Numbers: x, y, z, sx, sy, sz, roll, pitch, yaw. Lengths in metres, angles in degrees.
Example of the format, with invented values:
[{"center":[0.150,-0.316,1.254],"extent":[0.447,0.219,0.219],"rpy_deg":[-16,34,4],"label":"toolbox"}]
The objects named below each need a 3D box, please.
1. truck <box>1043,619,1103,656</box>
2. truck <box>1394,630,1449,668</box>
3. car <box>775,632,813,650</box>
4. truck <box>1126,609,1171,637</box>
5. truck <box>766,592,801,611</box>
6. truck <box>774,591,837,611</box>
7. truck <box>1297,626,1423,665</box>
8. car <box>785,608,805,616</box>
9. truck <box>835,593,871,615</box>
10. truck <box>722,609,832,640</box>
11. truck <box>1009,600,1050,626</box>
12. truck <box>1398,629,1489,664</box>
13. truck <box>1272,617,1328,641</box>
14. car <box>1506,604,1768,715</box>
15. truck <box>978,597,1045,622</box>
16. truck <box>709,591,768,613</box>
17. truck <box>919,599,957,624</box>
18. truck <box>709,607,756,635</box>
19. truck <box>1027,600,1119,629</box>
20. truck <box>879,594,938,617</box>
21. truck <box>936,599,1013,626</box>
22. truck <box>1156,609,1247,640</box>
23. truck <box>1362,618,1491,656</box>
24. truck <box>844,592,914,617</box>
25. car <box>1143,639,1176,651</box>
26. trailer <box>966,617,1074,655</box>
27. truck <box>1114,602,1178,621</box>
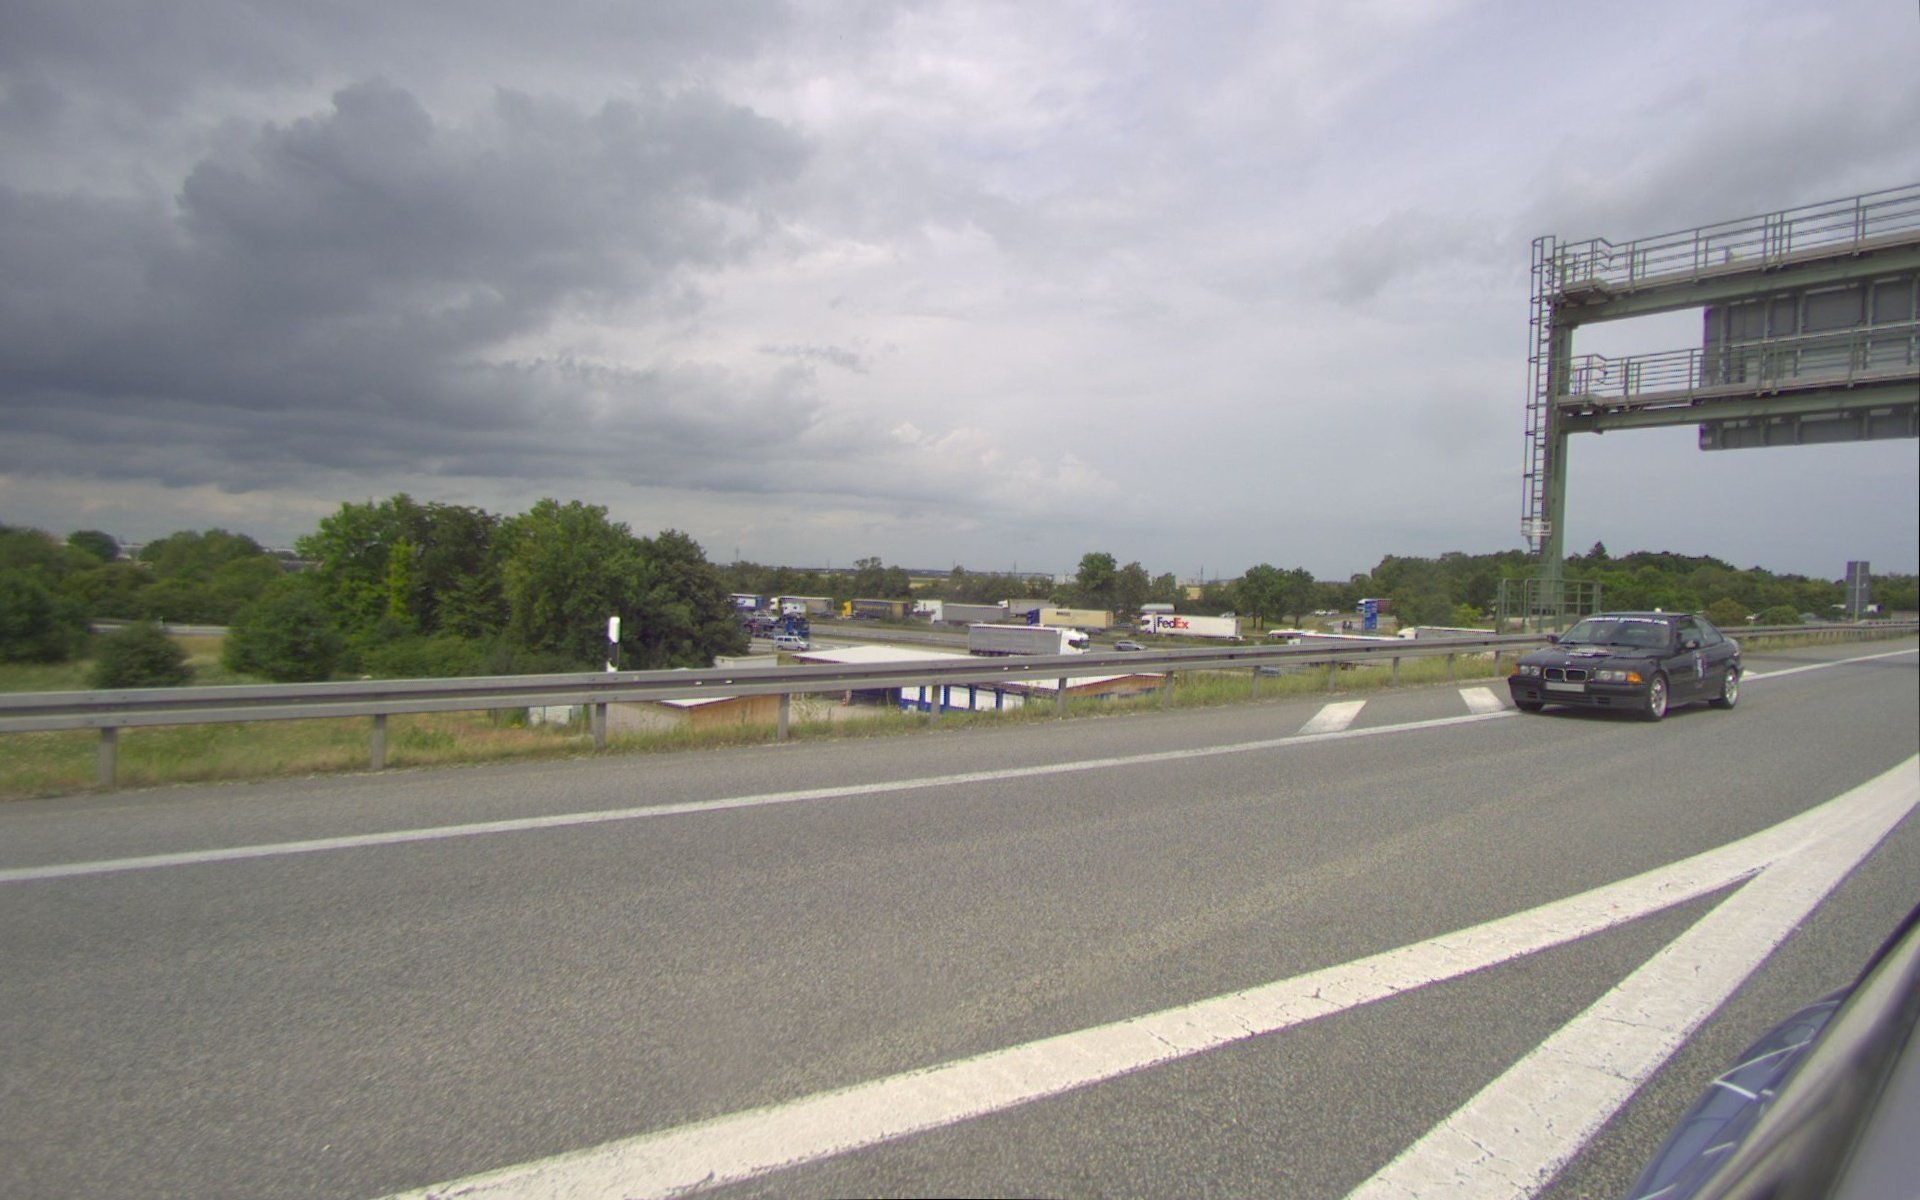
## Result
[{"center":[13.495,4.439,121.258],"extent":[6.490,4.151,2.950],"rpy_deg":[1,0,36],"label":"truck"},{"center":[50.690,5.322,111.158],"extent":[5.132,3.725,2.466],"rpy_deg":[2,0,34],"label":"truck"},{"center":[-22.022,5.434,134.367],"extent":[4.630,2.039,1.998],"rpy_deg":[3,-2,3],"label":"car"},{"center":[31.271,3.743,167.808],"extent":[6.257,4.568,3.880],"rpy_deg":[0,0,37],"label":"truck"},{"center":[-38.084,0.240,218.235],"extent":[6.460,4.063,4.078],"rpy_deg":[0,-1,37],"label":"truck"},{"center":[-32.837,0.234,214.306],"extent":[14.805,4.083,4.088],"rpy_deg":[1,0,37],"label":"truck"},{"center":[45.278,5.072,114.922],"extent":[13.053,3.725,2.466],"rpy_deg":[2,0,35],"label":"truck"},{"center":[-33.345,2.456,204.089],"extent":[3.977,1.505,1.715],"rpy_deg":[1,0,37],"label":"car"},{"center":[-21.884,0.801,206.978],"extent":[6.464,4.555,4.016],"rpy_deg":[0,0,38],"label":"truck"},{"center":[-27.681,3.556,151.730],"extent":[18.915,4.111,3.945],"rpy_deg":[1,0,34],"label":"truck"},{"center":[12.474,2.345,182.113],"extent":[6.256,4.568,3.881],"rpy_deg":[0,0,37],"label":"truck"},{"center":[64.599,6.160,135.466],"extent":[10.707,4.123,3.202],"rpy_deg":[1,-1,34],"label":"truck"},{"center":[49.828,4.234,148.377],"extent":[7.523,3.237,2.202],"rpy_deg":[1,-1,37],"label":"truck"},{"center":[9.395,0.735,13.923],"extent":[4.284,1.297,1.709],"rpy_deg":[1,0,-37],"label":"car"},{"center":[11.497,2.128,226.076],"extent":[14.576,5.281,3.861],"rpy_deg":[1,-1,0],"label":"truck"},{"center":[-49.546,0.437,226.165],"extent":[14.391,4.882,4.035],"rpy_deg":[1,-1,35],"label":"truck"},{"center":[-4.257,2.197,194.199],"extent":[6.258,4.568,3.880],"rpy_deg":[0,0,37],"label":"truck"},{"center":[-35.316,3.243,156.899],"extent":[6.374,4.041,3.816],"rpy_deg":[1,1,34],"label":"truck"},{"center":[19.622,2.441,176.773],"extent":[16.270,4.612,3.955],"rpy_deg":[1,0,37],"label":"truck"},{"center":[-11.732,1.273,229.580],"extent":[12.783,5.105,3.942],"rpy_deg":[1,-1,8],"label":"truck"},{"center":[2.591,2.266,188.862],"extent":[14.802,4.612,3.954],"rpy_deg":[1,0,38],"label":"truck"},{"center":[38.606,3.885,162.350],"extent":[13.708,4.612,3.956],"rpy_deg":[1,-1,36],"label":"truck"},{"center":[65.596,5.105,142.801],"extent":[16.092,4.759,3.938],"rpy_deg":[1,0,39],"label":"truck"},{"center":[-16.325,0.852,202.505],"extent":[15.225,4.612,3.952],"rpy_deg":[1,0,39],"label":"truck"},{"center":[26.535,5.992,134.636],"extent":[3.974,1.622,1.853],"rpy_deg":[-3,-3,36],"label":"car"},{"center":[7.325,4.330,125.861],"extent":[14.164,4.151,2.950],"rpy_deg":[1,0,37],"label":"trailer"},{"center":[42.314,2.606,230.311],"extent":[14.423,4.141,3.092],"rpy_deg":[1,-1,-14],"label":"truck"}]
